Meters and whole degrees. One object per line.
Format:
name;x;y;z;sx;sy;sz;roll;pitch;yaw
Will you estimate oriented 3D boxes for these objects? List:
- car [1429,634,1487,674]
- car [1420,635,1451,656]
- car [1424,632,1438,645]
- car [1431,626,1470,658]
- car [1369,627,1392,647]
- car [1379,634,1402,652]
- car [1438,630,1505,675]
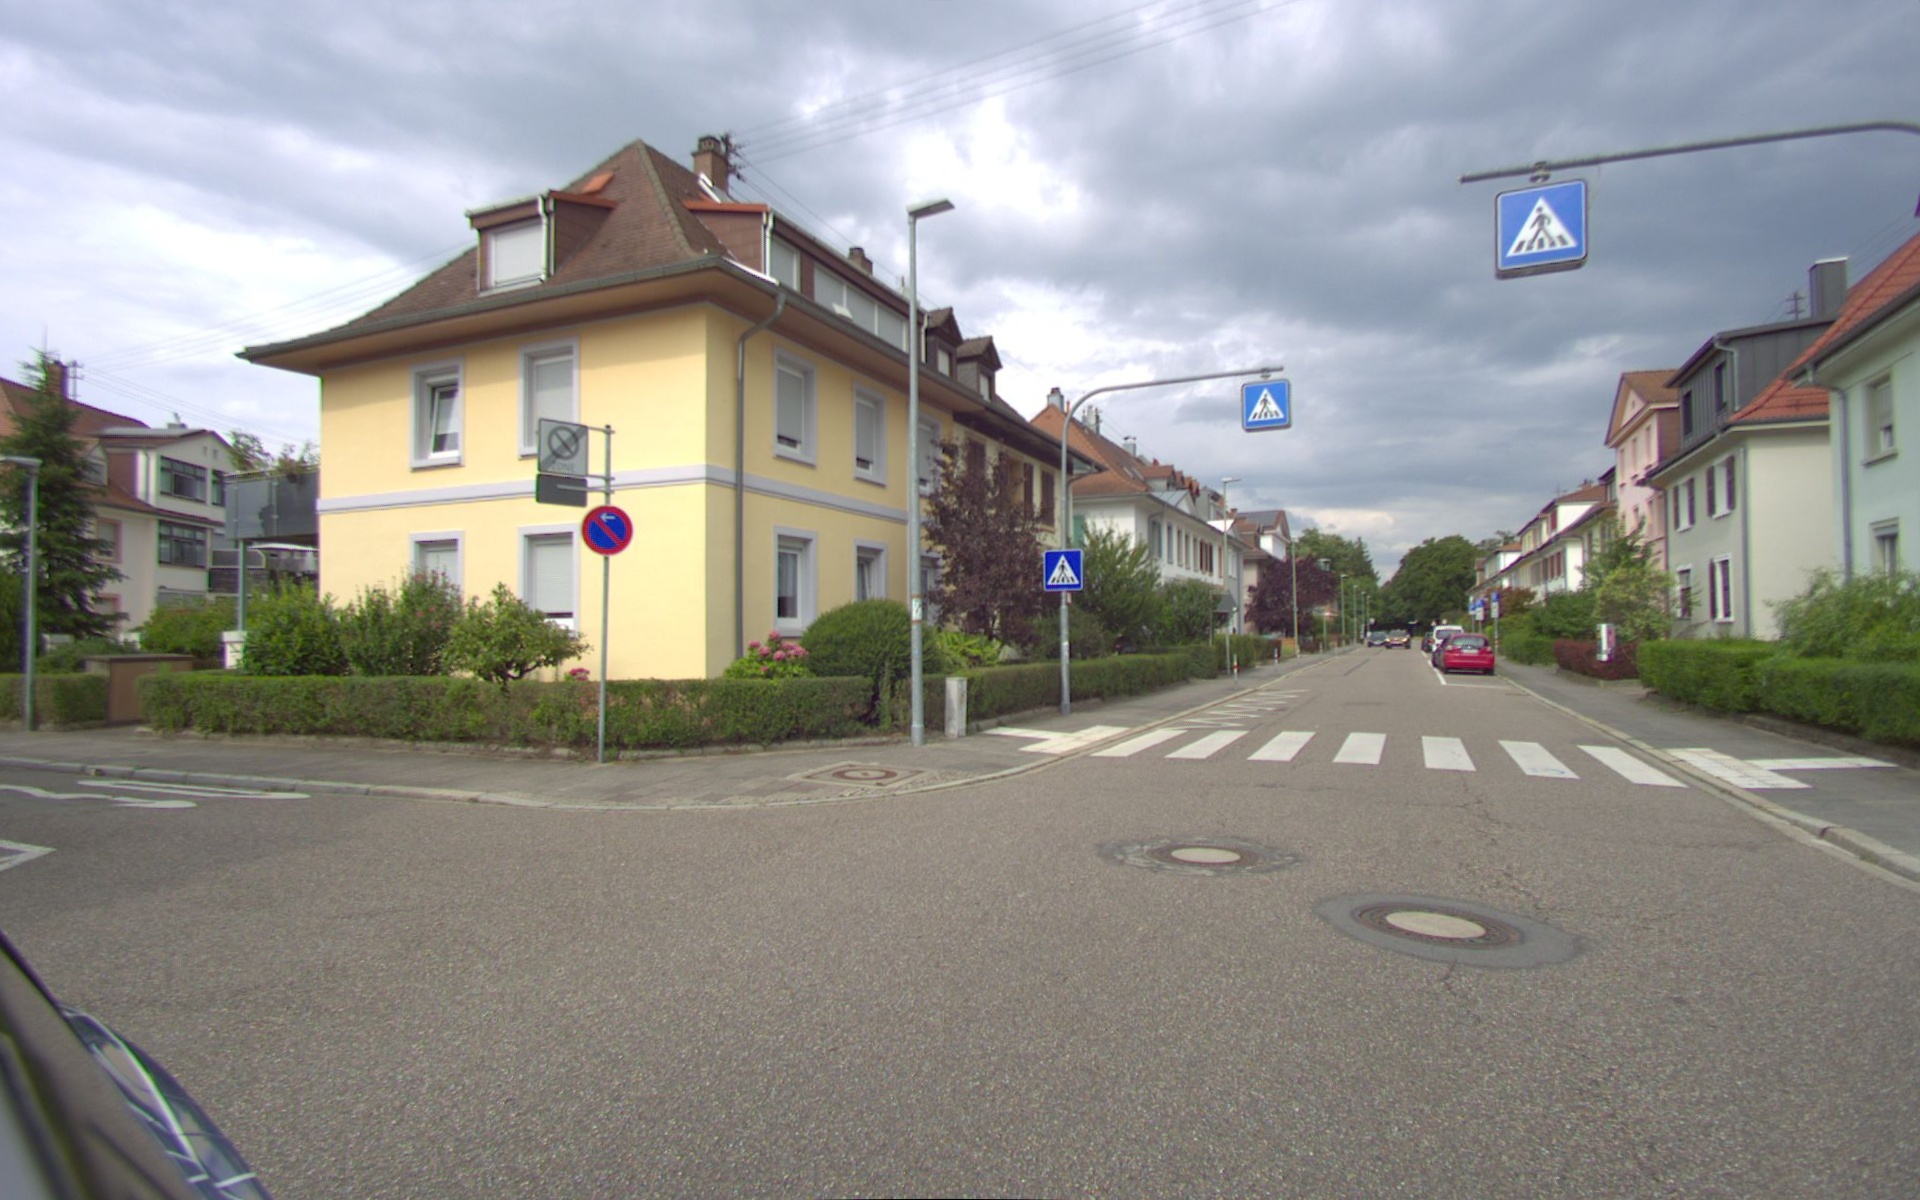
car;20.911;2.241;42.600;1.988;1.586;3.967;-1;-2;24
car;36.475;3.482;77.712;1.988;1.586;3.967;-1;-2;24
car;74.161;6.037;159.396;1.988;2.029;3.967;0;-2;24
car;30.596;2.596;63.203;1.988;1.918;3.967;-2;-2;24
car;42.139;3.709;101.391;1.988;2.029;3.967;-1;-2;24
car;38.107;3.811;89.532;1.825;1.497;3.969;0;-2;23
car;19.019;1.916;37.771;1.988;1.586;3.967;-1;-2;24
